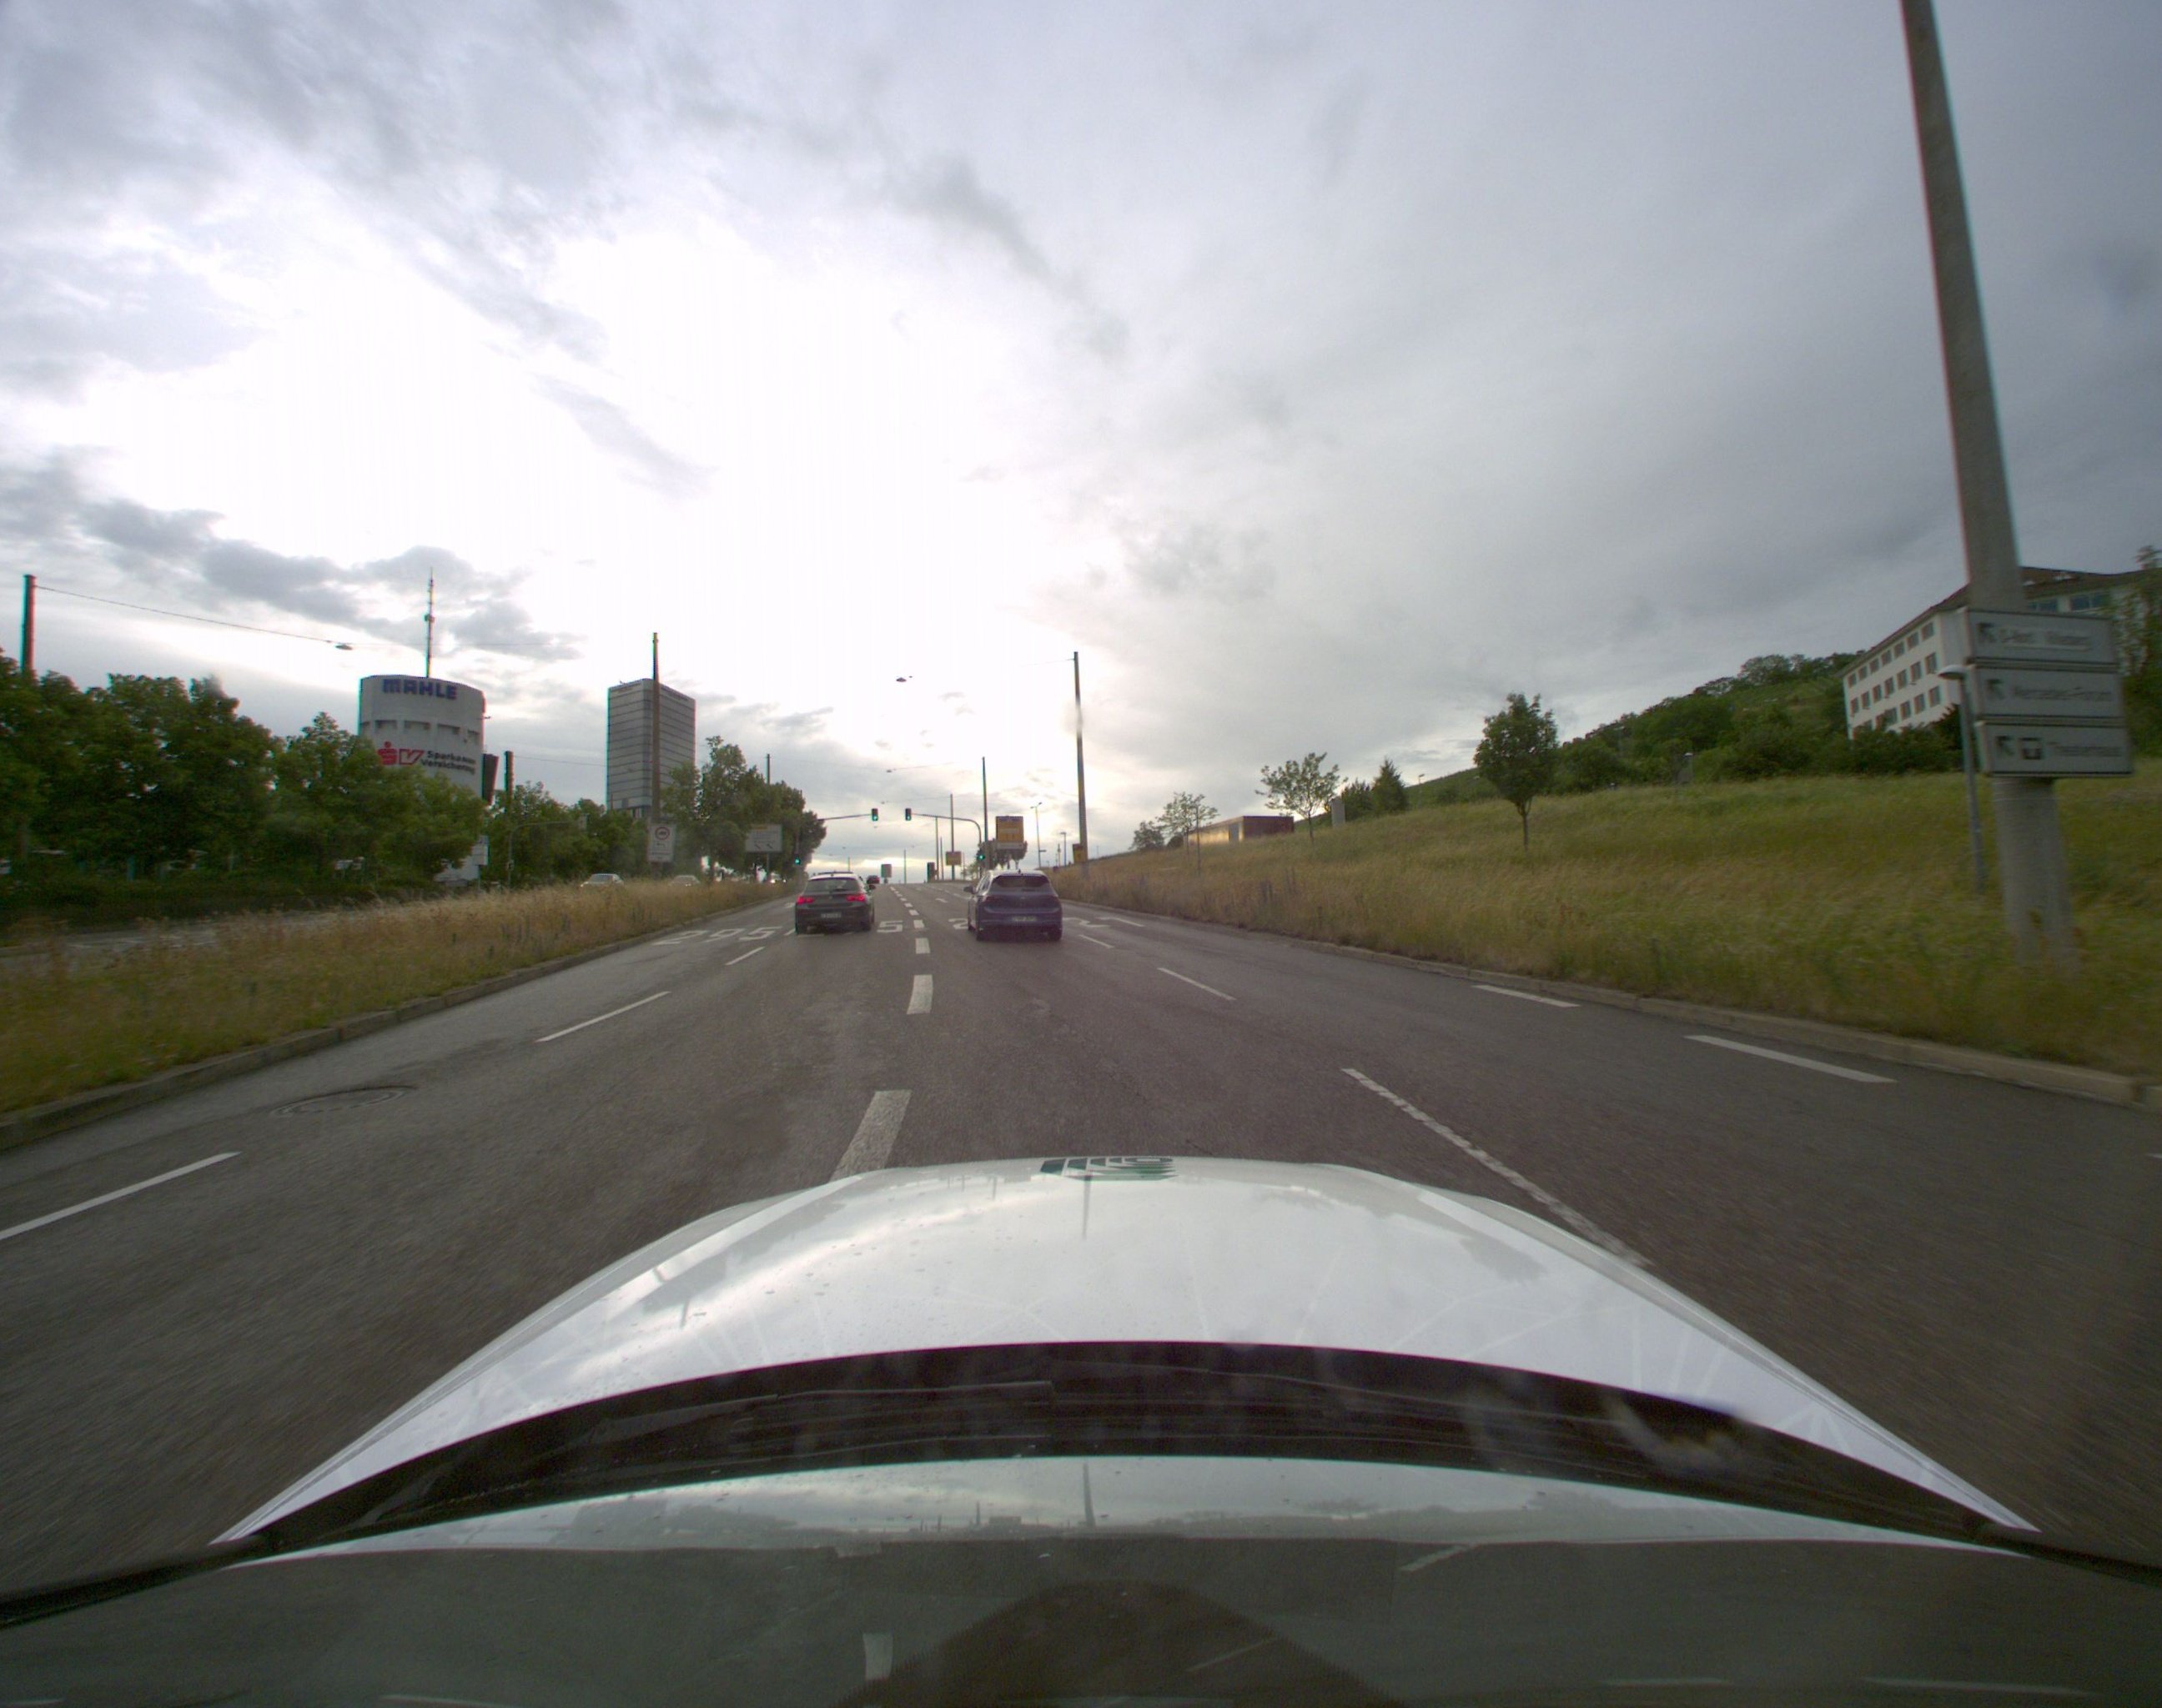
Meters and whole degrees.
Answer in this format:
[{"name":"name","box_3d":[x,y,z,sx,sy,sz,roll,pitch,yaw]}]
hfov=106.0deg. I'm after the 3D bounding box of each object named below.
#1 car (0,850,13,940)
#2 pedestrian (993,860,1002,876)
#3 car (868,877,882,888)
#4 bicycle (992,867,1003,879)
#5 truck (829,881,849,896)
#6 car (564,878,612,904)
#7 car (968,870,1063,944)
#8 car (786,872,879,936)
[{"name":"car","box_3d":[-24.619,0.896,16.239,1.998,2.014,3.977,-2,-1,-16]},{"name":"pedestrian","box_3d":[-8.272,1.432,80.998,0.635,1.571,0.889,-2,-2,-22]},{"name":"car","box_3d":[-29.290,4.045,115.739,1.723,1.542,3.687,1,-2,-12]},{"name":"bicycle","box_3d":[-8.324,1.879,81.191,0.635,1.105,1.740,0,-1,-23]},{"name":"truck","box_3d":[-54.955,7.908,185.058,2.684,3.221,6.481,2,-5,-32]},{"name":"car","box_3d":[-33.594,2.479,55.614,1.866,1.620,3.976,0,-1,-18]},{"name":"car","box_3d":[-1.492,1.074,17.888,1.836,1.394,3.991,-1,-1,-6]},{"name":"car","box_3d":[-6.272,1.213,20.932,1.870,1.461,3.960,-1,-1,-11]}]
